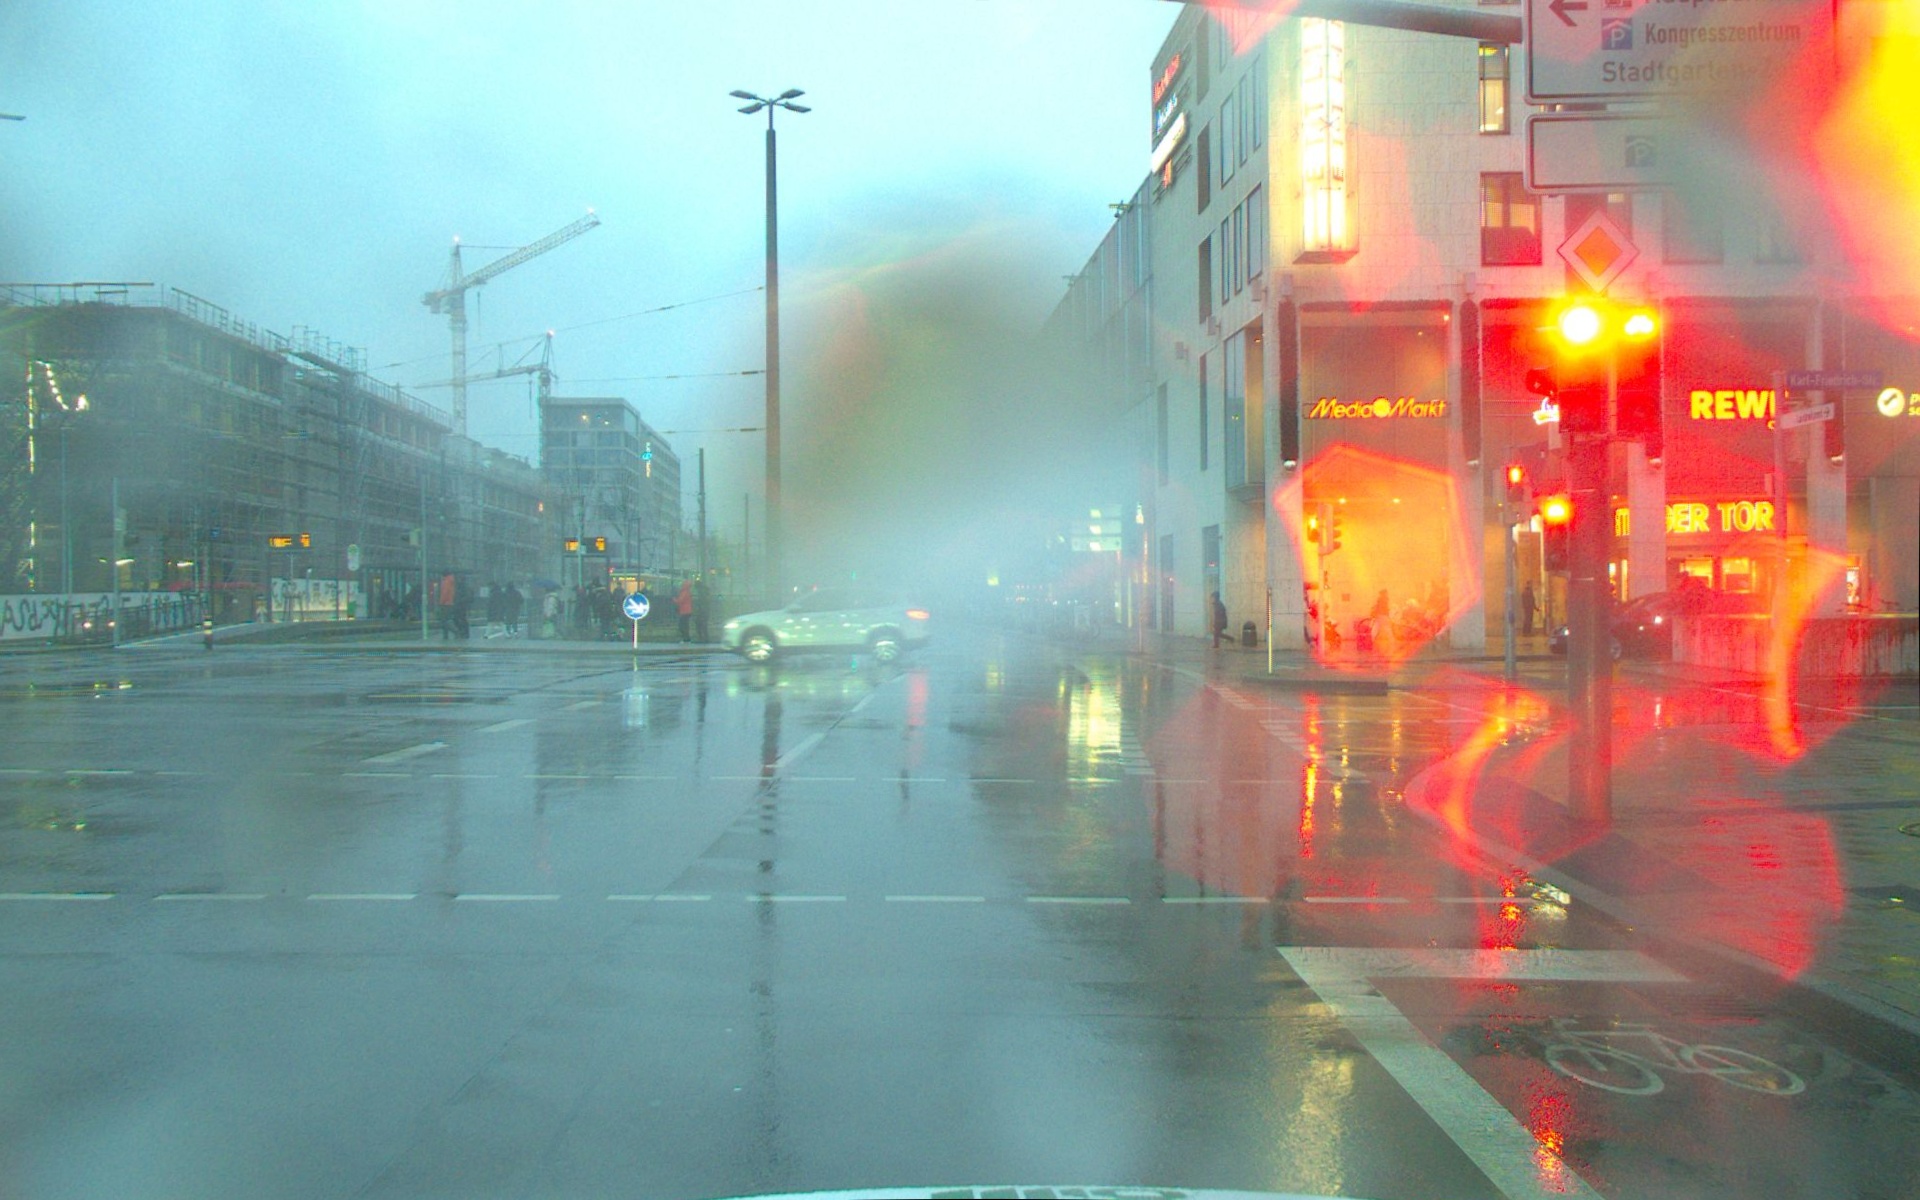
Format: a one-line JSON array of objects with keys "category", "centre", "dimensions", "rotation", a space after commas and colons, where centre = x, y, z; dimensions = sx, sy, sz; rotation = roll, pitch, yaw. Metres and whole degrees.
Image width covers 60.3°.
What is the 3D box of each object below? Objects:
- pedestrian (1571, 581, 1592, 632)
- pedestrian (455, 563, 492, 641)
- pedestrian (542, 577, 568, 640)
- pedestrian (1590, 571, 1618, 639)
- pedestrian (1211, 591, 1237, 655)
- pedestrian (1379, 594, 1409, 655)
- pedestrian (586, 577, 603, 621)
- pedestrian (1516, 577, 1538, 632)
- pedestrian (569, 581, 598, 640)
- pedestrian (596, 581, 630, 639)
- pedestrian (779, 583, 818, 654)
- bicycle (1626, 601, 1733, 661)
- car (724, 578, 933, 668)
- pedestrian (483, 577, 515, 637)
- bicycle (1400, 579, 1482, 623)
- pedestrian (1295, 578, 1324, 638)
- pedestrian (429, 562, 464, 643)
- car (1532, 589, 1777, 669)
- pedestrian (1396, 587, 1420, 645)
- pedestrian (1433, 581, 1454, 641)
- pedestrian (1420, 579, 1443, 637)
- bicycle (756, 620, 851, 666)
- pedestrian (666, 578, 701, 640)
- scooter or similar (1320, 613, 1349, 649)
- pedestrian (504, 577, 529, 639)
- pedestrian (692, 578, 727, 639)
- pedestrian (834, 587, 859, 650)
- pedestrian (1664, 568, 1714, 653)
[{"category": "pedestrian", "centre": [21.141, 0.222, 56.271], "dimensions": [0.526, 1.748, 0.500], "rotation": [-1, 0, 37]}, {"category": "pedestrian", "centre": [-12.999, 0.057, 44.161], "dimensions": [0.770, 2.049, 0.604], "rotation": [0, 0, -39]}, {"category": "pedestrian", "centre": [-11.658, 0.243, 47.621], "dimensions": [0.607, 1.776, 0.612], "rotation": [-1, 0, -6]}, {"category": "pedestrian", "centre": [16.250, 0.124, 41.735], "dimensions": [0.526, 1.715, 0.547], "rotation": [-1, 0, 37]}, {"category": "pedestrian", "centre": [7.461, 0.648, 46.730], "dimensions": [0.620, 1.803, 0.483], "rotation": [-1, 0, -2]}, {"category": "pedestrian", "centre": [12.828, 0.728, 48.917], "dimensions": [0.688, 1.791, 0.667], "rotation": [-1, 0, -1]}, {"category": "pedestrian", "centre": [-14.955, -0.048, 67.645], "dimensions": [0.648, 1.776, 0.734], "rotation": [-1, 0, -11]}, {"category": "pedestrian", "centre": [18.163, 0.146, 53.016], "dimensions": [0.526, 1.748, 0.500], "rotation": [-1, 0, 37]}, {"category": "pedestrian", "centre": [-10.593, 0.288, 46.579], "dimensions": [0.692, 1.647, 0.612], "rotation": [-1, 0, -3]}, {"category": "pedestrian", "centre": [-9.884, 0.278, 47.099], "dimensions": [0.793, 1.635, 0.745], "rotation": [-1, 0, -1]}, {"category": "pedestrian", "centre": [-3.694, 0.423, 37.864], "dimensions": [0.797, 1.597, 0.536], "rotation": [-1, 0, 4]}, {"category": "bicycle", "centre": [13.842, 0.595, 31.866], "dimensions": [1.806, 1.112, 0.618], "rotation": [-1, 0, 14]}, {"category": "car", "centre": [-2.708, 0.466, 34.682], "dimensions": [4.214, 1.792, 1.707], "rotation": [-1, 0, 0]}, {"category": "pedestrian", "centre": [-12.827, 0.193, 46.016], "dimensions": [0.692, 1.647, 0.680], "rotation": [-1, 0, 0]}, {"category": "bicycle", "centre": [15.052, 0.031, 51.772], "dimensions": [2.378, 1.352, 0.634], "rotation": [0, 0, -6]}, {"category": "pedestrian", "centre": [10.069, 0.229, 47.651], "dimensions": [0.726, 1.696, 0.400], "rotation": [-1, 0, 0]}, {"category": "pedestrian", "centre": [-13.508, 0.064, 43.534], "dimensions": [0.682, 2.124, 0.604], "rotation": [0, 0, -41]}, {"category": "car", "centre": [14.561, 0.592, 34.877], "dimensions": [4.440, 1.601, 1.798], "rotation": [-1, 0, 7]}, {"category": "pedestrian", "centre": [13.646, 0.477, 50.370], "dimensions": [0.526, 1.748, 0.500], "rotation": [-1, 0, 37]}, {"category": "pedestrian", "centre": [14.481, 0.321, 49.549], "dimensions": [0.501, 1.791, 0.374], "rotation": [-1, 0, -1]}, {"category": "pedestrian", "centre": [14.376, 0.239, 50.426], "dimensions": [0.526, 1.748, 0.500], "rotation": [-1, 0, 37]}, {"category": "bicycle", "centre": [-3.579, 0.987, 37.852], "dimensions": [2.084, 1.008, 0.542], "rotation": [-1, 0, 3]}, {"category": "pedestrian", "centre": [-7.732, 0.246, 46.224], "dimensions": [0.813, 1.709, 0.620], "rotation": [-1, 0, 6]}, {"category": "scooter or similar", "centre": [10.798, 0.892, 47.680], "dimensions": [0.726, 1.011, 0.400], "rotation": [-1, 0, 0]}, {"category": "pedestrian", "centre": [-12.971, 0.231, 48.405], "dimensions": [0.607, 1.776, 0.612], "rotation": [-1, 0, -6]}, {"category": "pedestrian", "centre": [-7.118, 0.235, 46.995], "dimensions": [0.825, 1.718, 0.677], "rotation": [-1, 0, 7]}, {"category": "pedestrian", "centre": [-3.260, 0.519, 47.544], "dimensions": [0.688, 1.791, 0.652], "rotation": [-1, 0, -1]}, {"category": "pedestrian", "centre": [14.013, 0.201, 31.792], "dimensions": [0.764, 1.623, 0.613], "rotation": [-1, 0, 14]}]
